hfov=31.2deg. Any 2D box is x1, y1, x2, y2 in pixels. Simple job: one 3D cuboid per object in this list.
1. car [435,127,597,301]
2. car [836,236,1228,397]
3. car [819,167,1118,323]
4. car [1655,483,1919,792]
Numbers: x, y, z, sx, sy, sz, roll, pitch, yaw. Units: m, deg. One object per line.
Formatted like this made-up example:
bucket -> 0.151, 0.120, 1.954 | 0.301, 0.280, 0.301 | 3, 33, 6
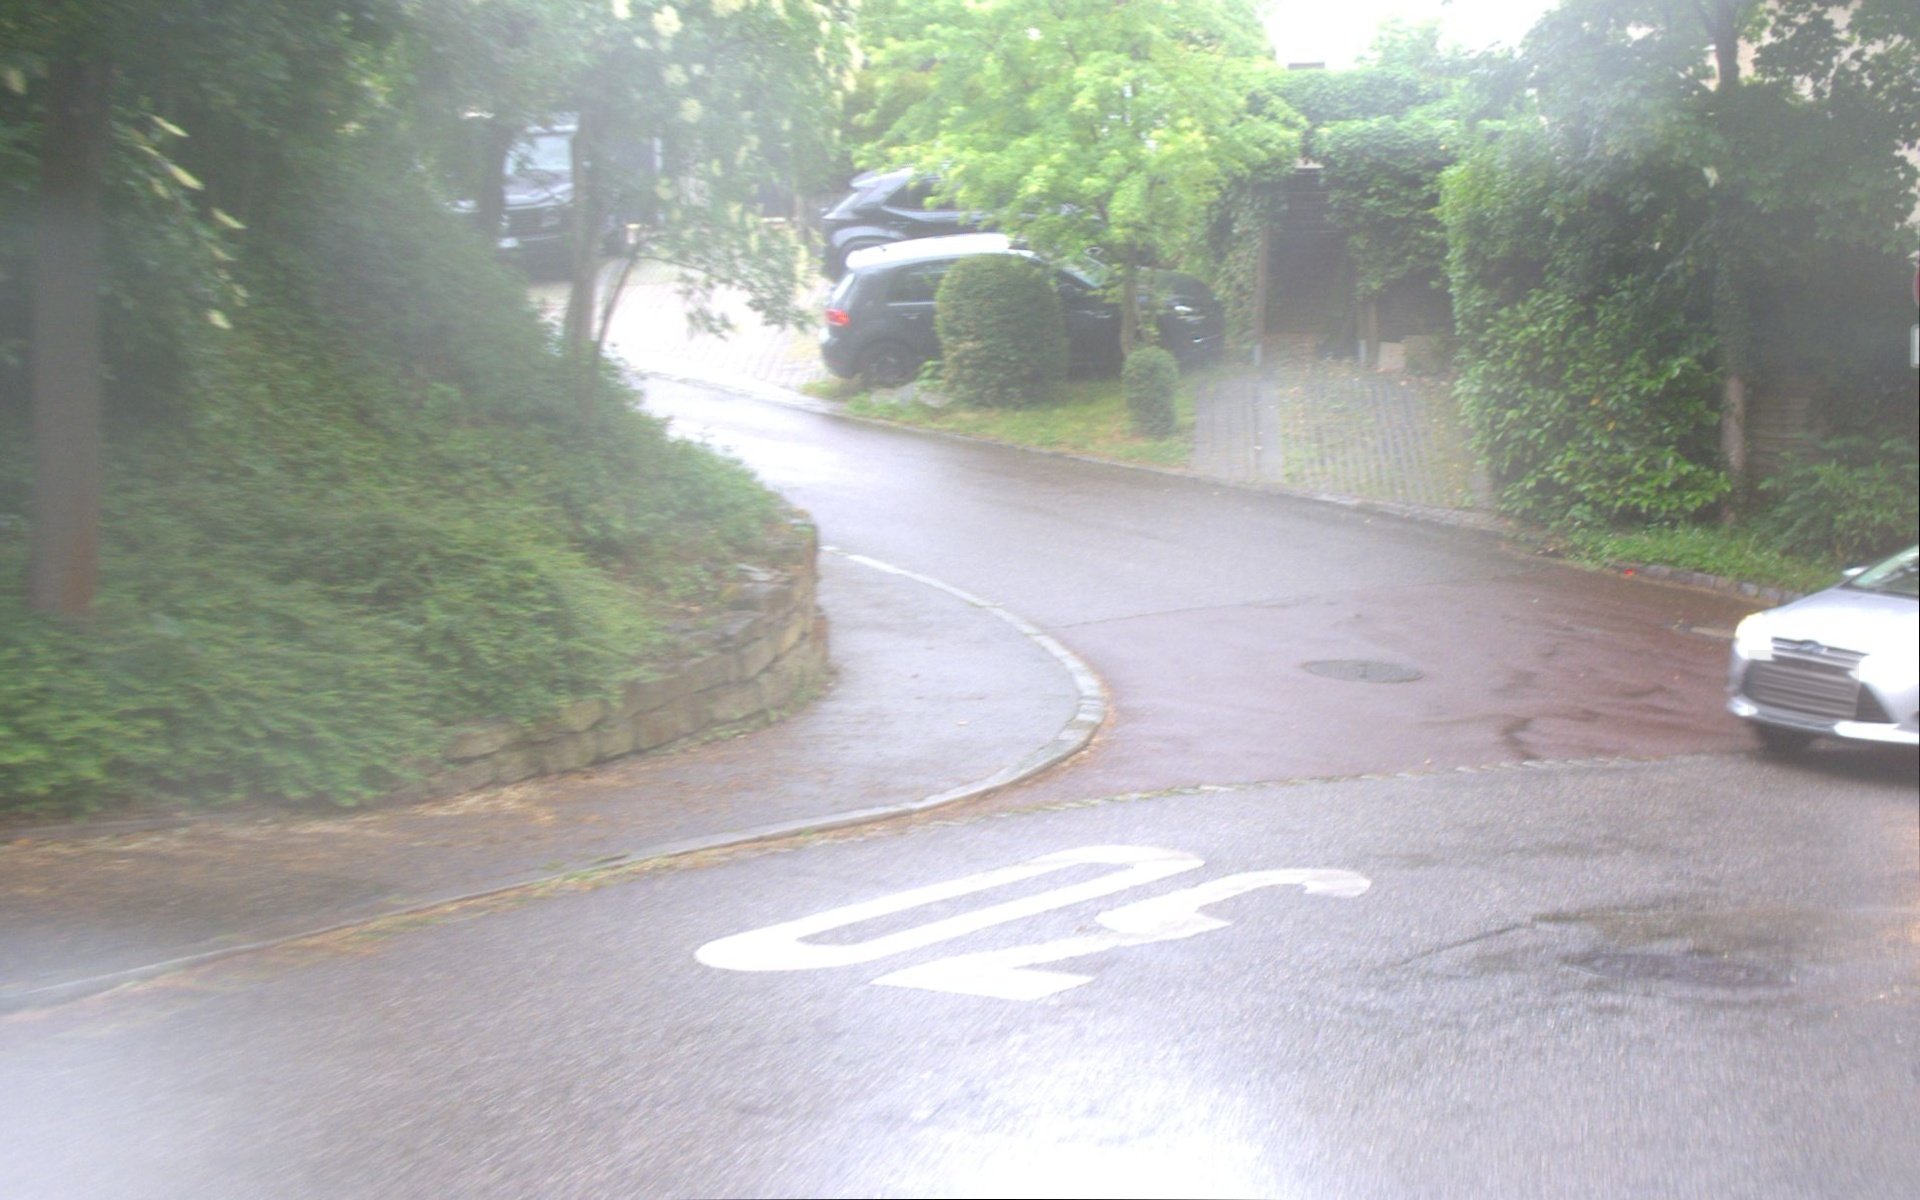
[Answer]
car -> -5.860, -5.160, 45.510 | 1.887, 1.609, 4.005 | -6, 15, -6
car -> 0.772, -2.981, 35.969 | 3.987, 1.411, 1.700 | -1, 12, 2
car -> 0.138, -4.219, 40.800 | 3.397, 1.568, 1.595 | 0, 16, 5
car -> 6.199, 0.247, 20.409 | 4.108, 1.531, 1.678 | 2, 5, -39
